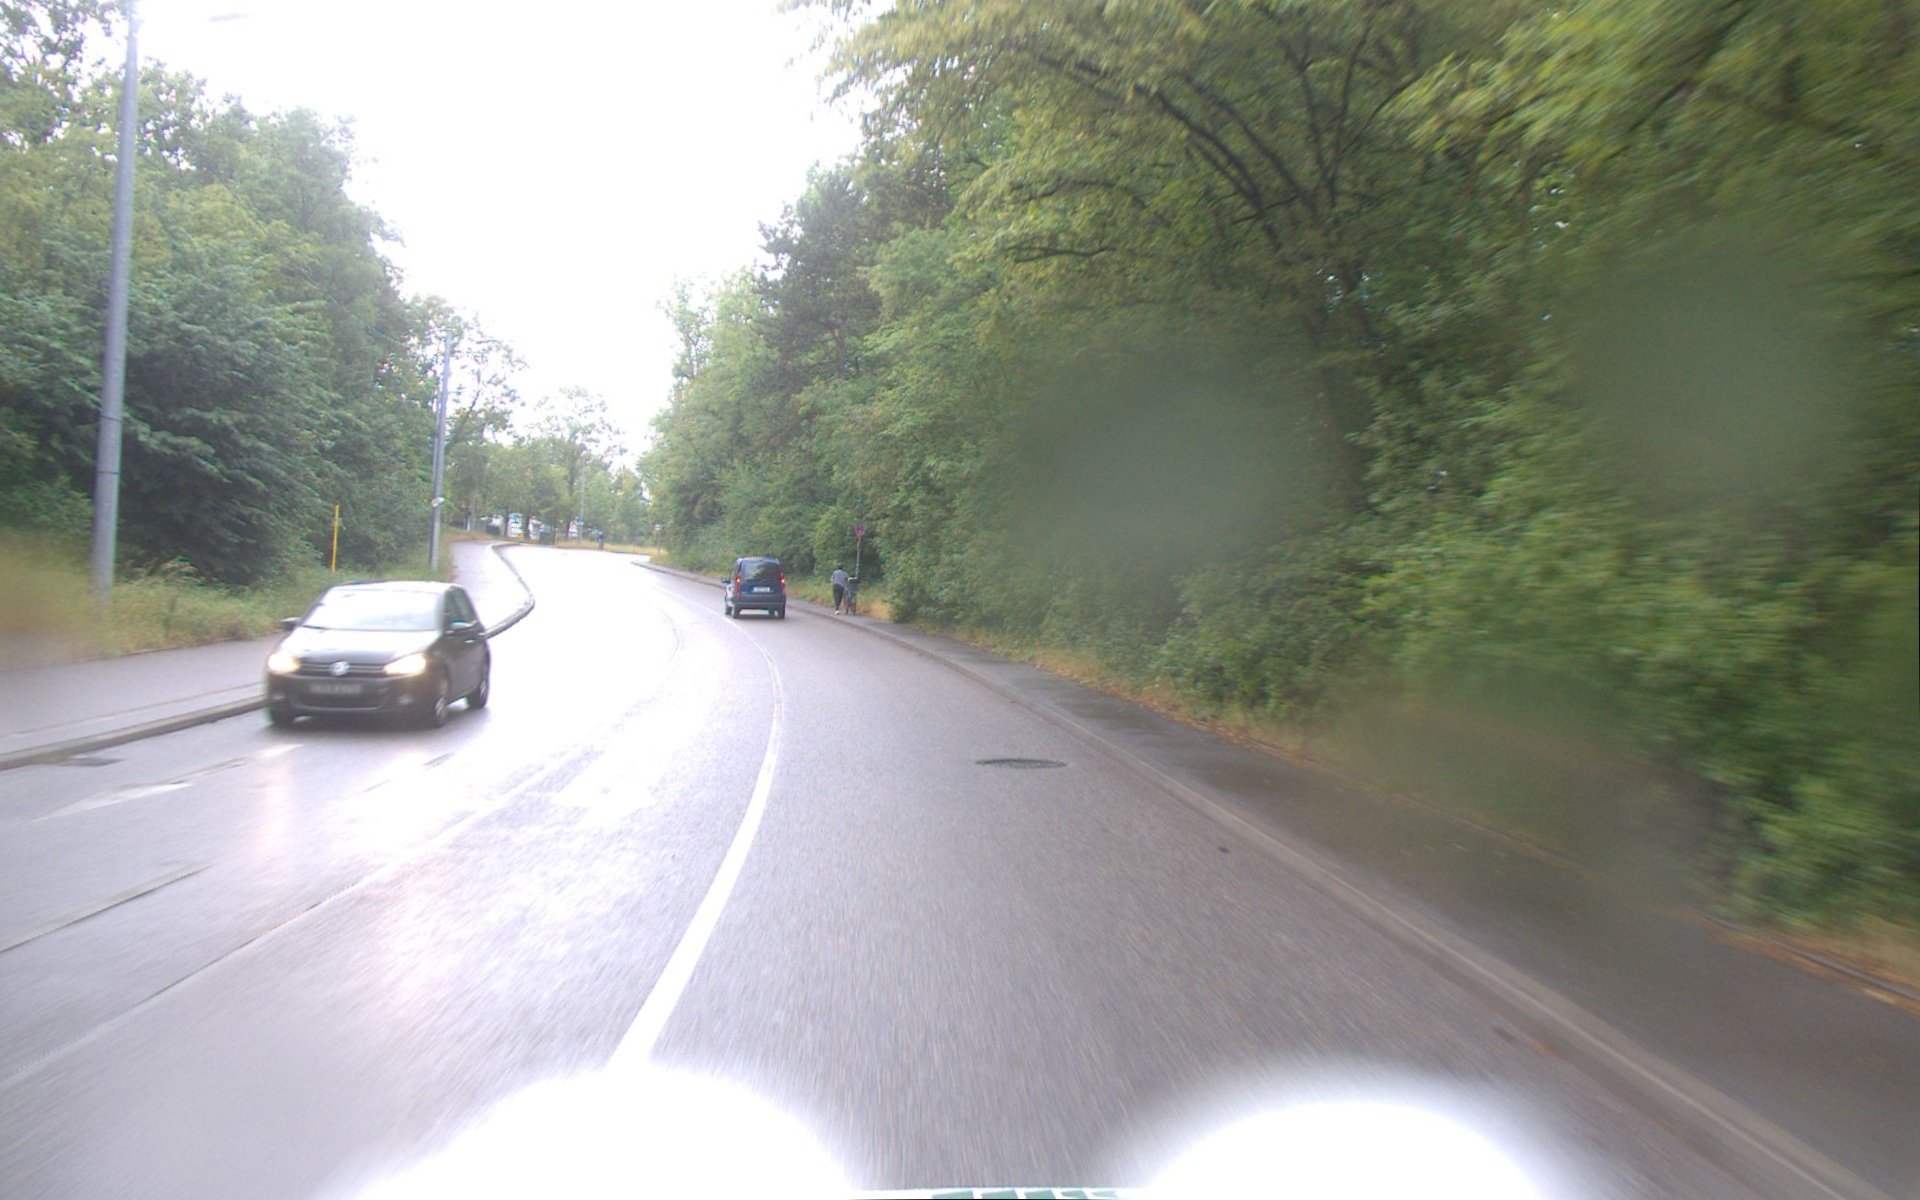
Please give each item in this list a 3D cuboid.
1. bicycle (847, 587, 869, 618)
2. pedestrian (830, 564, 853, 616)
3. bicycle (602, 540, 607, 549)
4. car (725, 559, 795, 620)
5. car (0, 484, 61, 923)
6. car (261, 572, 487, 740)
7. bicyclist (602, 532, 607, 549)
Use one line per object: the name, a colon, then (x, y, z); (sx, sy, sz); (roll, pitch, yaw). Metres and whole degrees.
bicycle: (-3.196, 0.064, 51.595); (0.349, 0.863, 1.737); (-2, 4, -14)
pedestrian: (-3.734, -0.314, 52.069); (0.554, 1.604, 0.767); (-1, -1, -14)
bicycle: (-34.993, -5.482, 162.896); (0.349, 0.863, 2.086); (0, 3, -14)
car: (-6.317, -0.340, 51.926); (1.795, 1.825, 3.987); (0, 0, -13)
car: (-4.860, 0.434, 5.036); (1.791, 1.875, 4.709); (3, 1, -3)
car: (-6.278, 0.527, 18.124); (1.795, 1.465, 3.989); (1, 3, -12)
bicyclist: (-34.974, -5.819, 162.849); (0.330, 1.601, 1.294); (3, 3, -14)
